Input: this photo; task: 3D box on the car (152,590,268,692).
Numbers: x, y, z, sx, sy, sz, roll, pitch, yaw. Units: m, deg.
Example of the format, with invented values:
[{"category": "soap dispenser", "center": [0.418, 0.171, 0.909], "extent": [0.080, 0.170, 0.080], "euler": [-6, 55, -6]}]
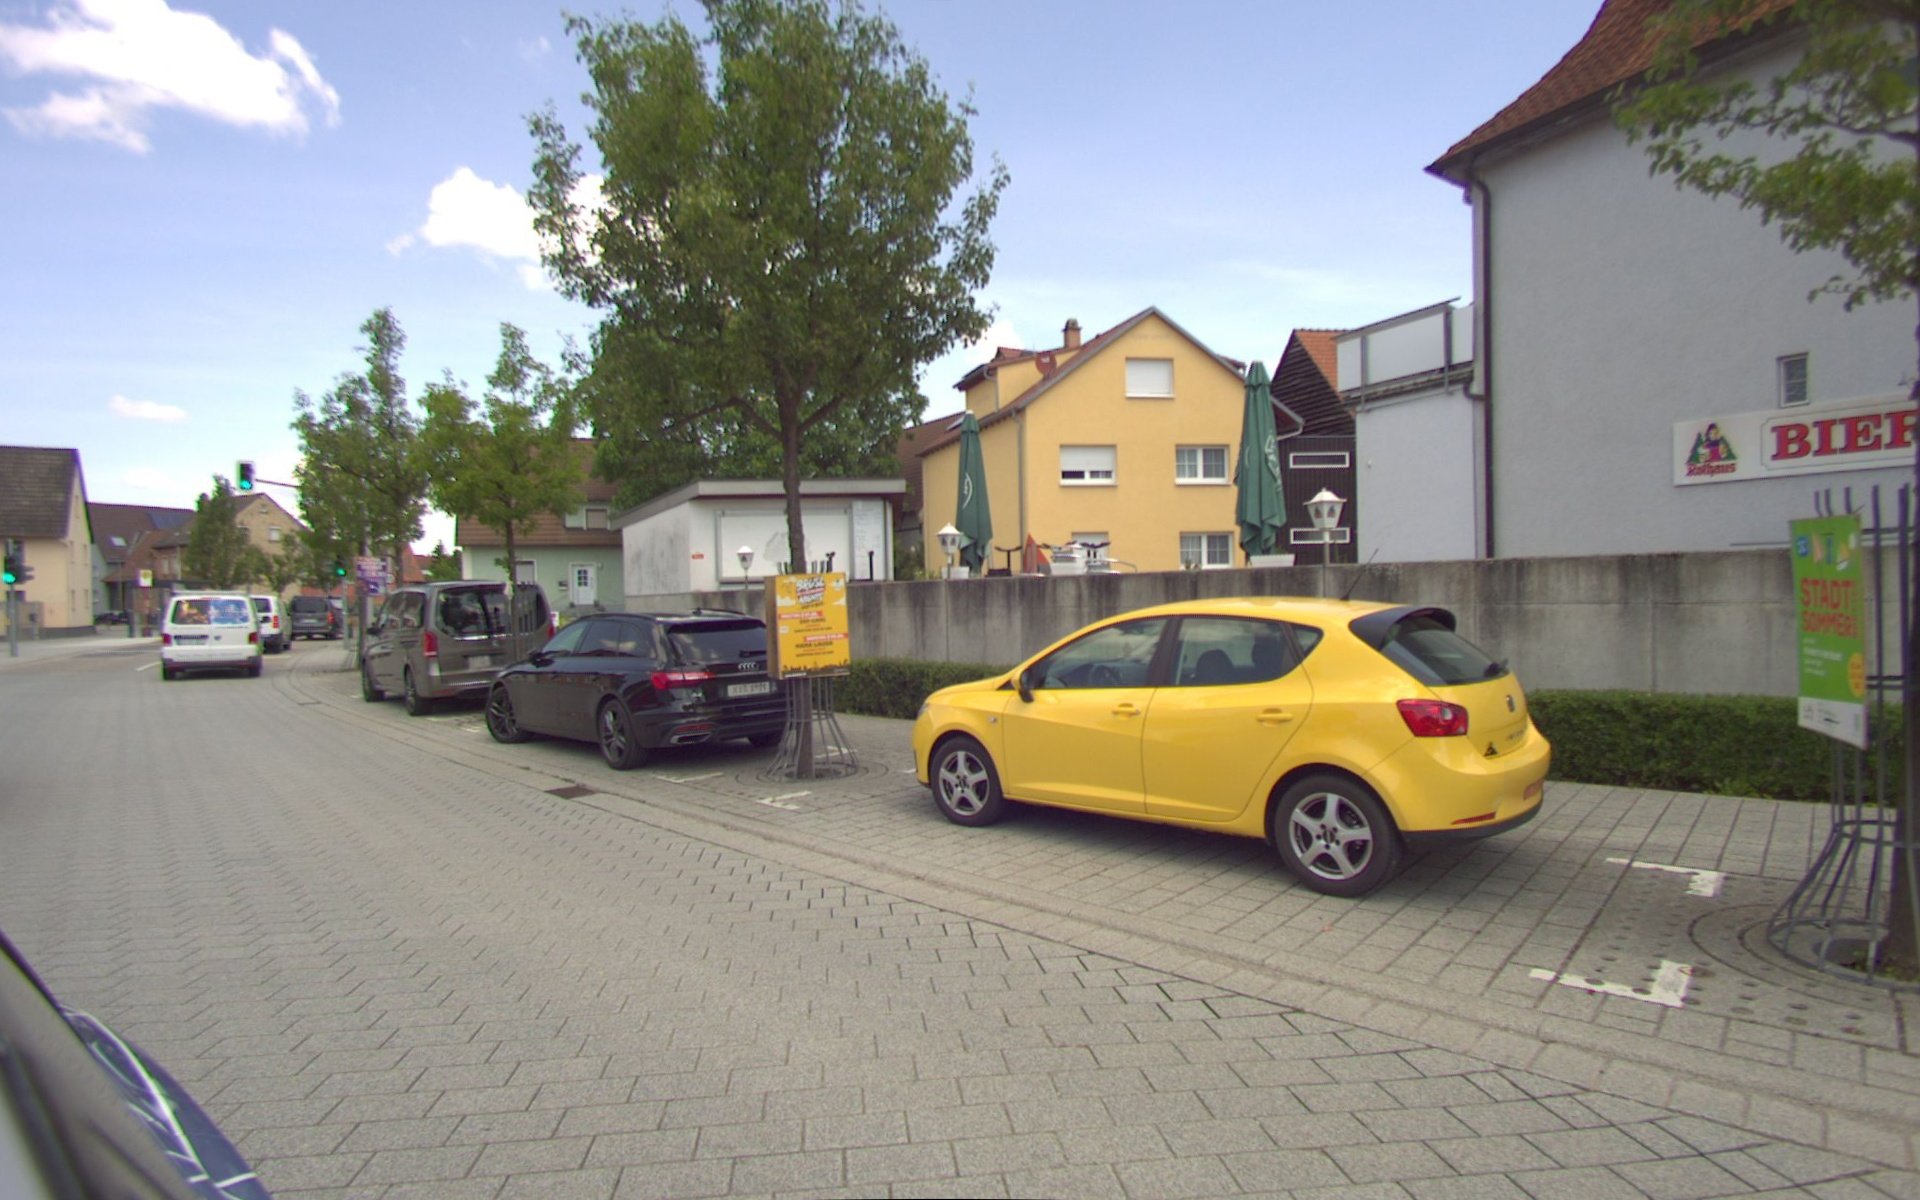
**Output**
[{"category": "car", "center": [-18.071, 0.908, 24.582], "extent": [1.862, 2.202, 5.044], "euler": [-1, 0, -32]}]

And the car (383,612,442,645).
[{"category": "car", "center": [-27.439, 1.399, 50.828], "extent": [1.709, 1.502, 4.514], "euler": [-1, 0, -17]}]

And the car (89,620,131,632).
[{"category": "car", "center": [-79.960, 2.471, 95.189], "extent": [3.983, 1.068, 1.786], "euler": [-1, 0, 29]}]

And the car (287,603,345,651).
[{"category": "car", "center": [-29.051, 1.194, 45.753], "extent": [1.635, 2.029, 4.013], "euler": [-1, 0, -25]}]

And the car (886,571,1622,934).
[{"category": "car", "center": [1.495, 0.652, 6.134], "extent": [3.964, 1.486, 1.649], "euler": [-1, 0, 44]}]

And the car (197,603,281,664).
[{"category": "car", "center": [-24.450, 1.092, 34.260], "extent": [1.968, 1.894, 4.875], "euler": [-1, 0, -39]}]

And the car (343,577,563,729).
[{"category": "car", "center": [-8.156, 0.734, 15.991], "extent": [1.961, 2.005, 5.052], "euler": [-1, 0, -40]}]

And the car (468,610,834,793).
[{"category": "car", "center": [-3.380, 0.863, 10.444], "extent": [1.794, 1.434, 4.542], "euler": [-1, 0, -43]}]
